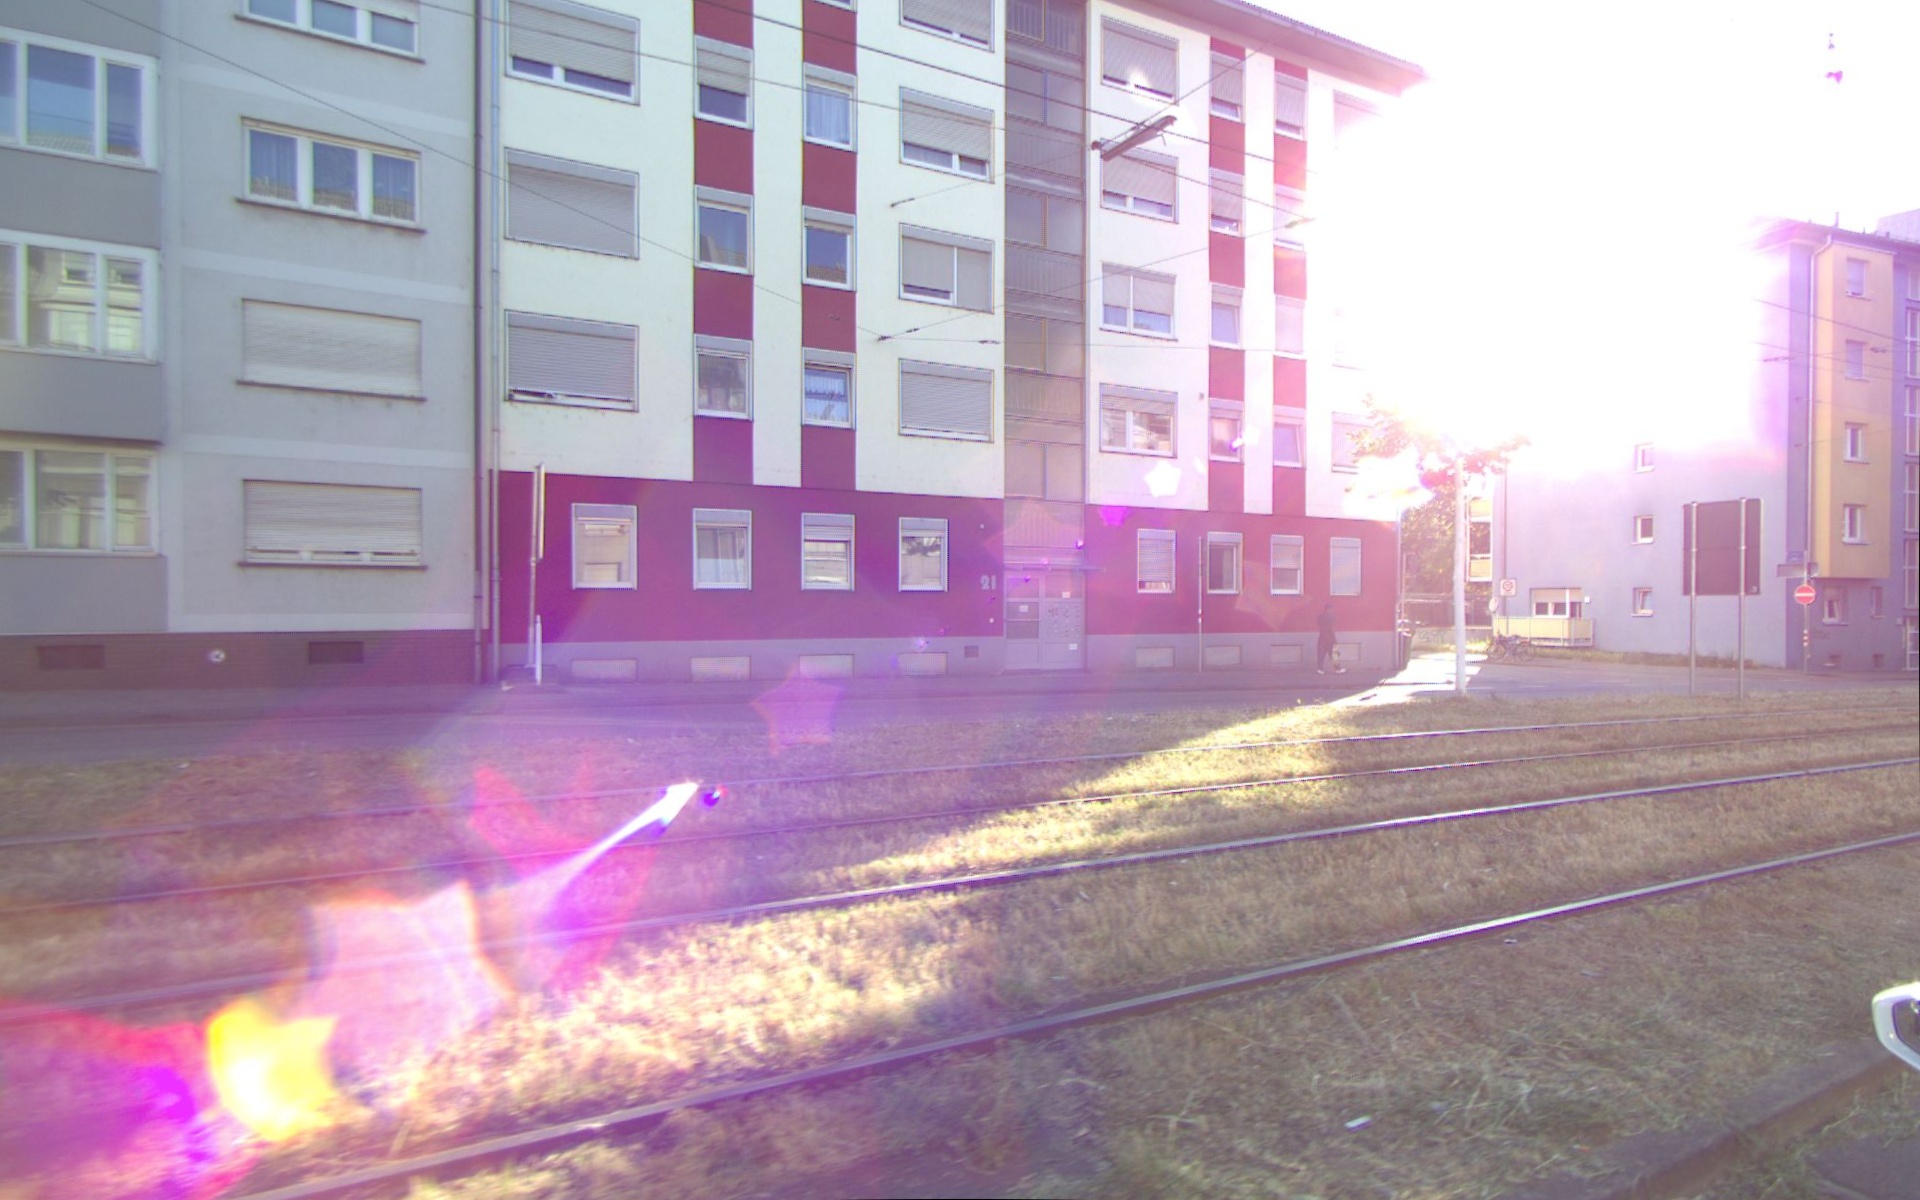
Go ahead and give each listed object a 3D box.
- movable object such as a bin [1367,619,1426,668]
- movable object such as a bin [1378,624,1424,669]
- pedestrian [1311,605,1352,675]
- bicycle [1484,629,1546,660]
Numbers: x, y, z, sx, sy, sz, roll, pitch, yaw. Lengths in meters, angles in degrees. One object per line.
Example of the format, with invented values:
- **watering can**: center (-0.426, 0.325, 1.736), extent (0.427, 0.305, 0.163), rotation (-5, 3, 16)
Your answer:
- **movable object such as a bin**: center (13.213, 1.298, 30.422), extent (1.123, 1.434, 1.213), rotation (1, 0, -25)
- **movable object such as a bin**: center (12.503, 1.301, 28.480), extent (0.795, 1.242, 0.863), rotation (1, 0, -25)
- **pedestrian**: center (9.369, 0.992, 25.332), extent (0.781, 1.712, 0.611), rotation (0, 0, -27)
- **bicycle**: center (20.669, 1.632, 37.449), extent (0.598, 1.090, 1.940), rotation (1, -1, -38)
